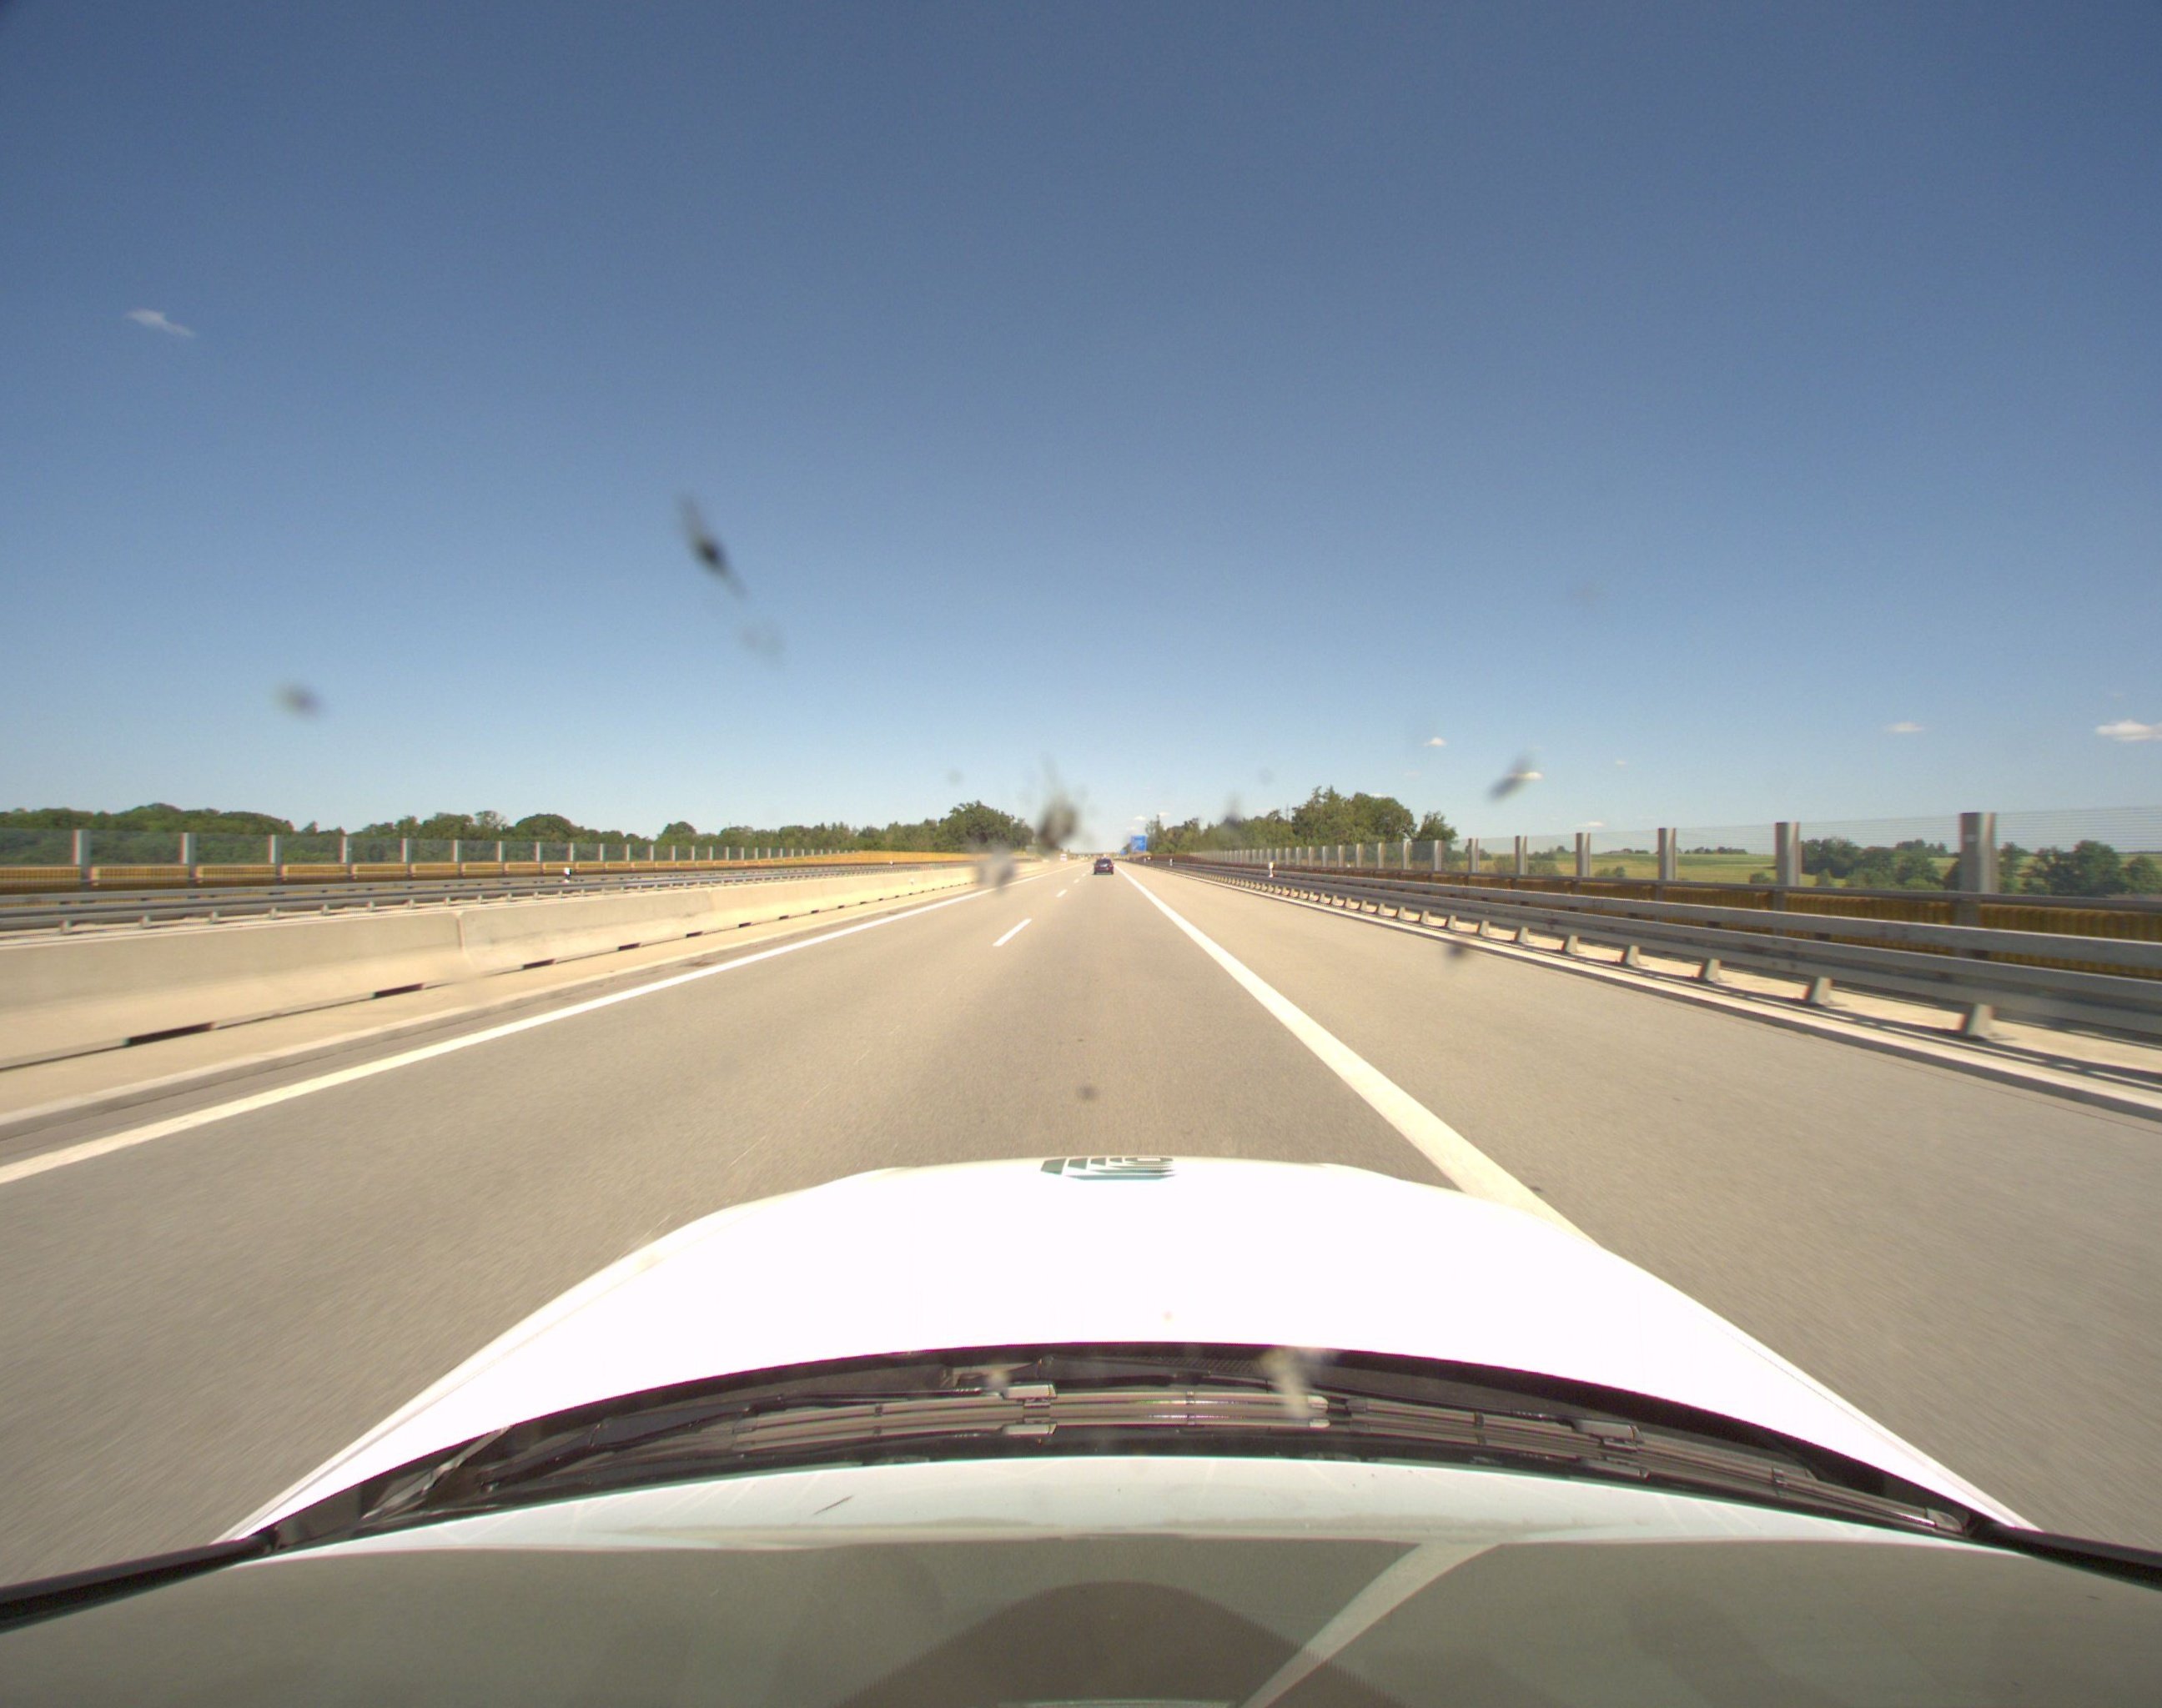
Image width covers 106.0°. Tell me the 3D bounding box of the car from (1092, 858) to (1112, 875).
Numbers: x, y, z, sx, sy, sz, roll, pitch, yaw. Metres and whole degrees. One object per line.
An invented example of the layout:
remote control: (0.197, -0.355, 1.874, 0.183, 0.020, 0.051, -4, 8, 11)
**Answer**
car: (1.904, 1.092, 72.510, 1.783, 1.374, 3.918, 0, 0, 2)

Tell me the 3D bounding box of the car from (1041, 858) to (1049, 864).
car: (-9.154, 1.869, 208.837, 1.641, 1.508, 4.334, -1, 0, 2)
